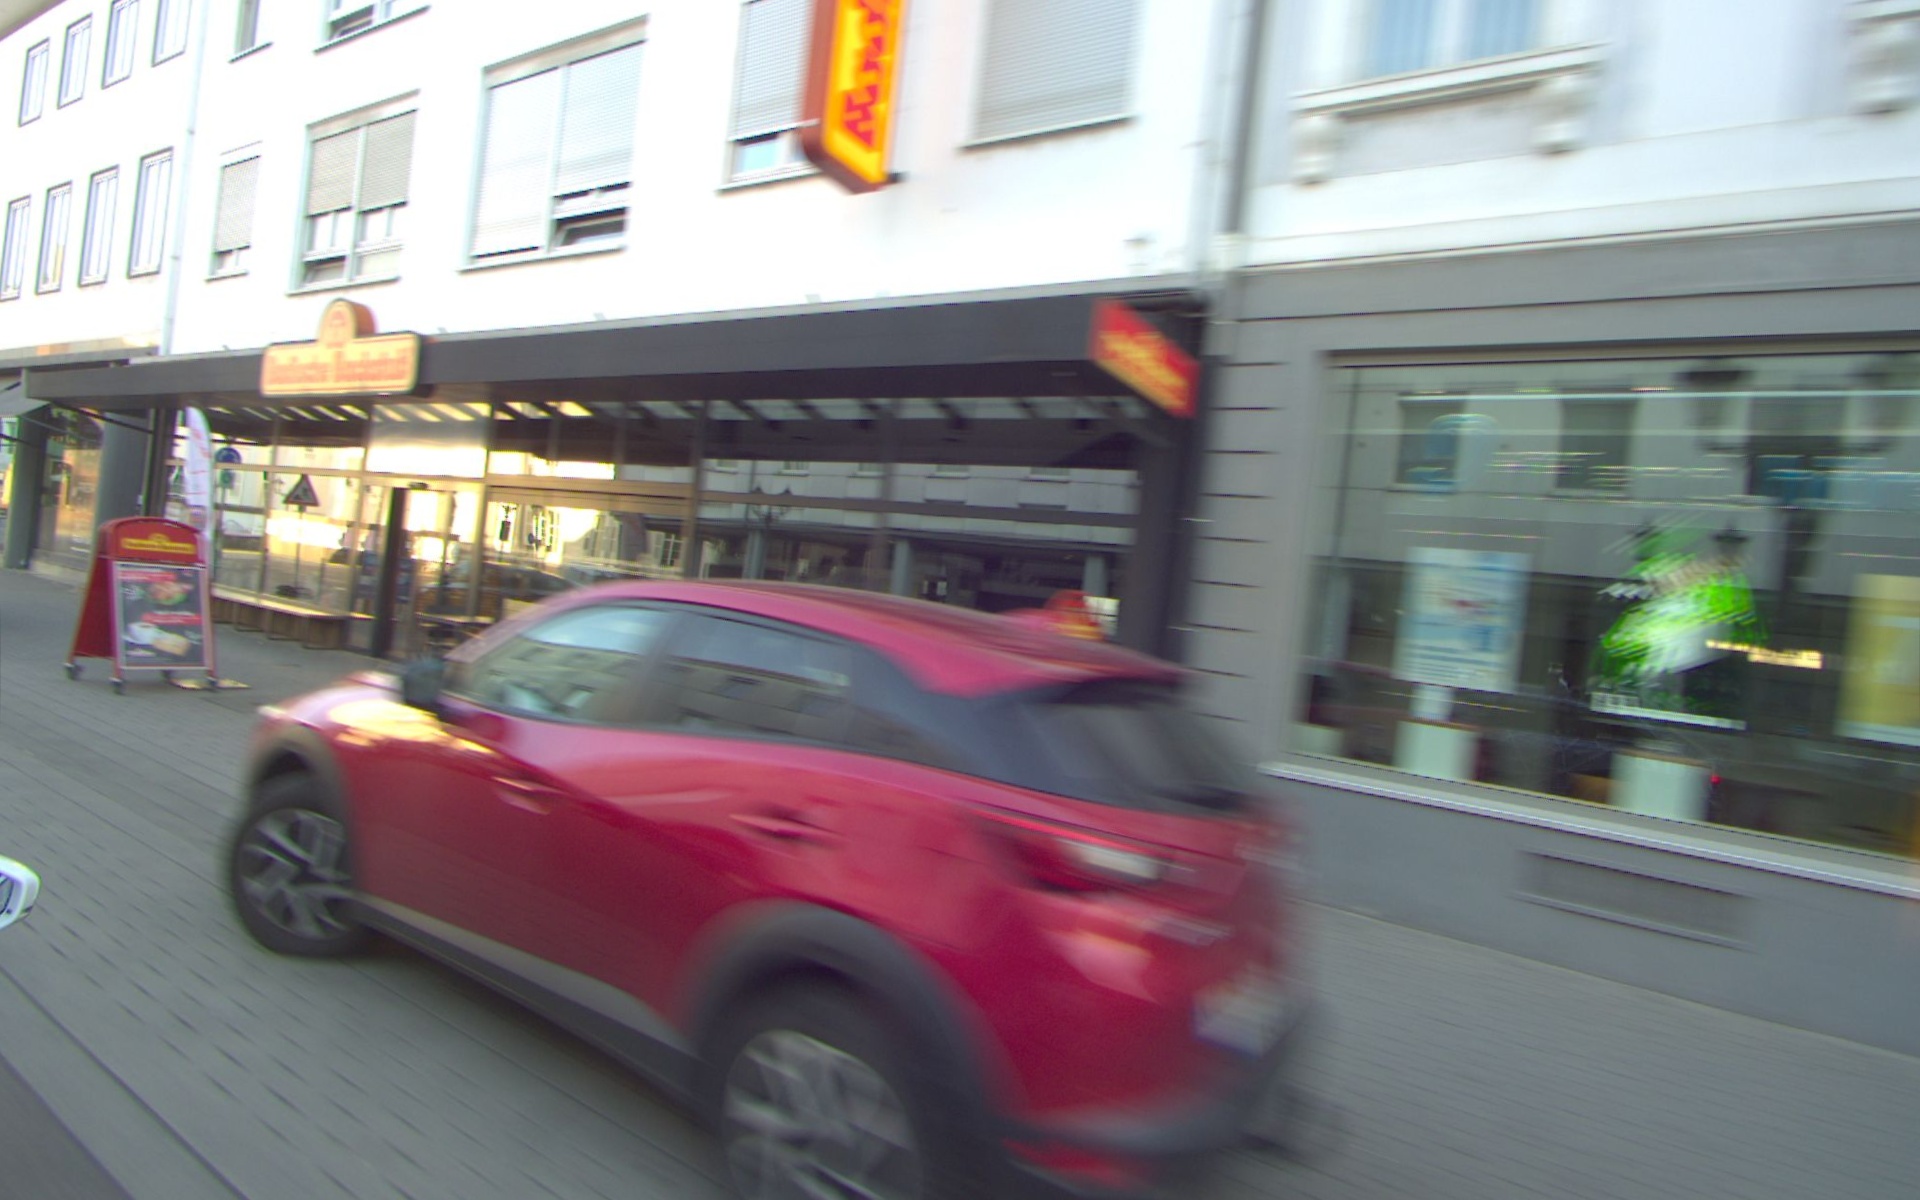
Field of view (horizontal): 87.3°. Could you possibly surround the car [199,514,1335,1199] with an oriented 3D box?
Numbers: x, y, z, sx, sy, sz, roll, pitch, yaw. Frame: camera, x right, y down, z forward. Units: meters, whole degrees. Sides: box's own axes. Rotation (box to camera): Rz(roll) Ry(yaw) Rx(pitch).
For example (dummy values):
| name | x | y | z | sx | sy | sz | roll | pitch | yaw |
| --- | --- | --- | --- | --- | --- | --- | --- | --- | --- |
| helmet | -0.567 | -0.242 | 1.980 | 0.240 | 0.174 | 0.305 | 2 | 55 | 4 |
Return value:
| name | x | y | z | sx | sy | sz | roll | pitch | yaw |
| --- | --- | --- | --- | --- | --- | --- | --- | --- | --- |
| car | -0.832 | 0.689 | 3.558 | 3.617 | 1.541 | 1.761 | 7 | 0 | 33 |
